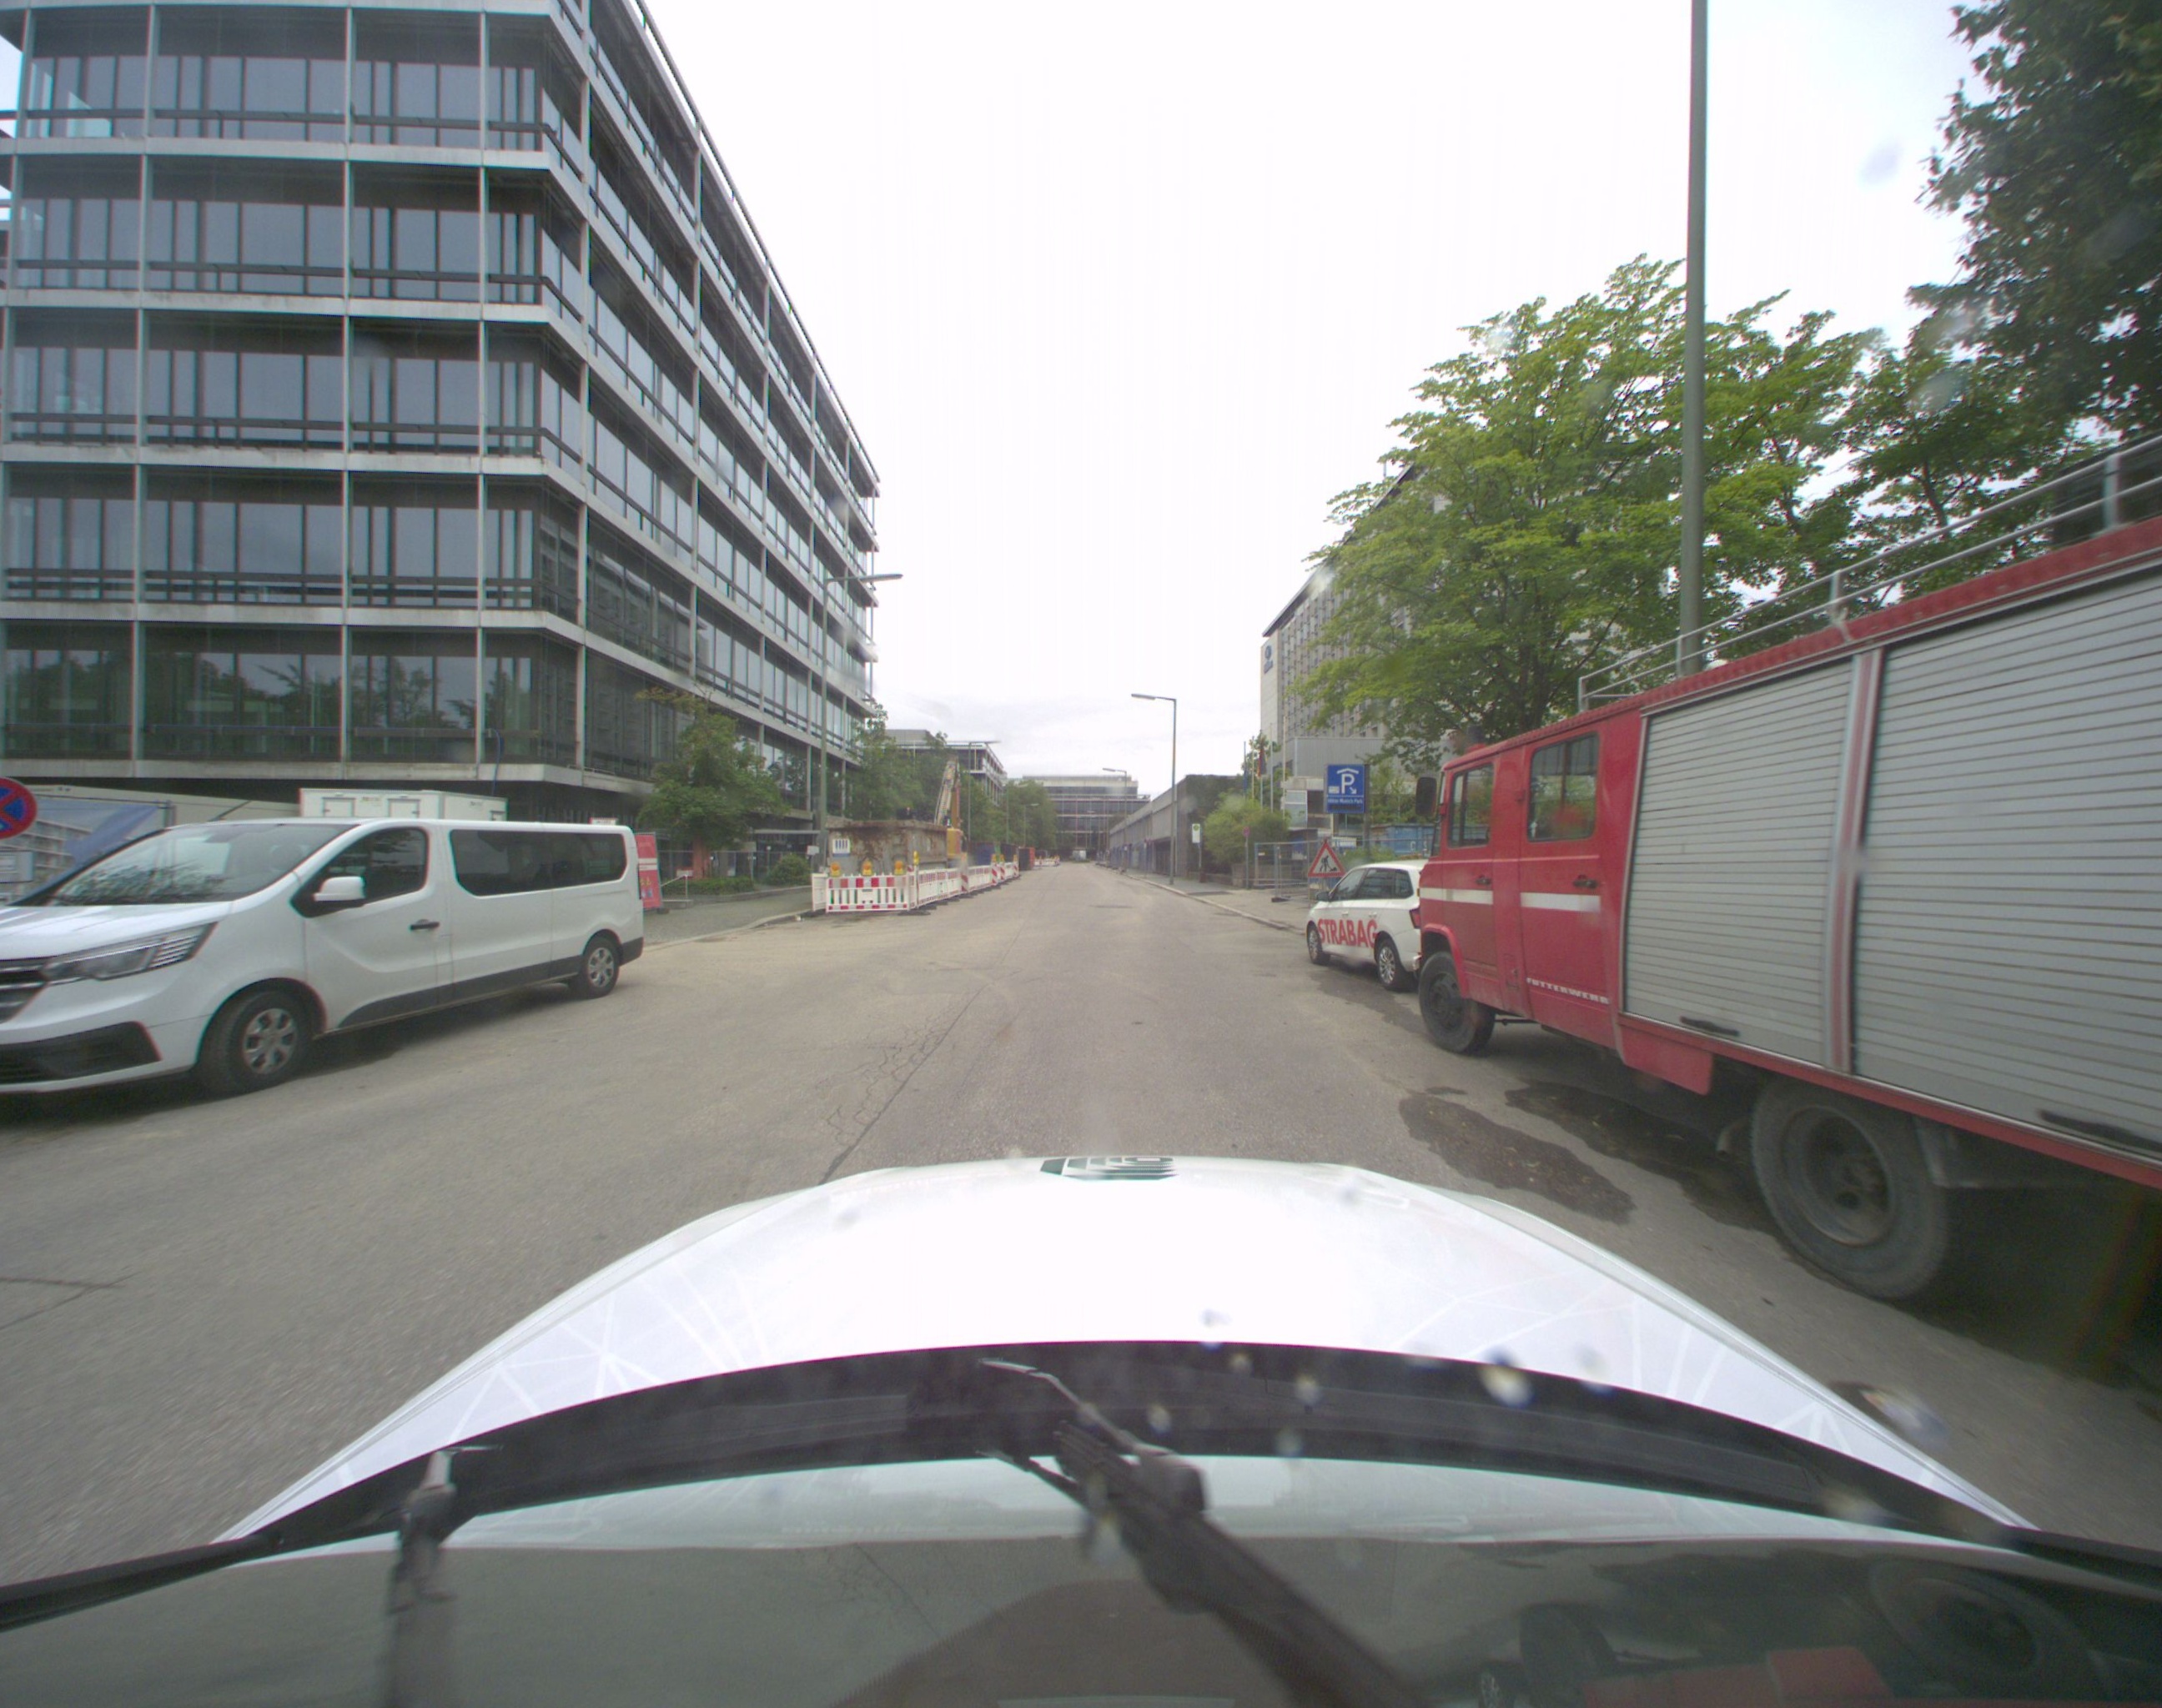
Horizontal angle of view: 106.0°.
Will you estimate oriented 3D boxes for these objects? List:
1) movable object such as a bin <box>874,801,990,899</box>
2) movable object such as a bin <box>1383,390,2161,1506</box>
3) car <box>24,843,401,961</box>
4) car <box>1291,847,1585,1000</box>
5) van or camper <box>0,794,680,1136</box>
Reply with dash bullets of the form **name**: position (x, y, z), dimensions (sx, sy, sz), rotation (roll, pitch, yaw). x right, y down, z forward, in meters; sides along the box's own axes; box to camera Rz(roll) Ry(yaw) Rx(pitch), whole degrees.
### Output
- **movable object such as a bin**: position (-6.258, -0.201, 36.004), dimensions (3.229, 3.716, 9.010), rotation (-1, 1, 1)
- **movable object such as a bin**: position (3.576, 0.198, 4.165), dimensions (2.095, 2.458, 6.192), rotation (-1, 0, 3)
- **car**: position (-15.861, 0.822, 15.092), dimensions (4.745, 1.921, 2.000), rotation (-1, 0, 0)
- **car**: position (4.237, 0.708, 10.516), dimensions (1.772, 1.549, 4.252), rotation (-1, 0, -3)
- **van or camper**: position (-6.223, 0.634, 7.535), dimensions (1.984, 2.013, 5.383), rotation (-1, 1, 4)
